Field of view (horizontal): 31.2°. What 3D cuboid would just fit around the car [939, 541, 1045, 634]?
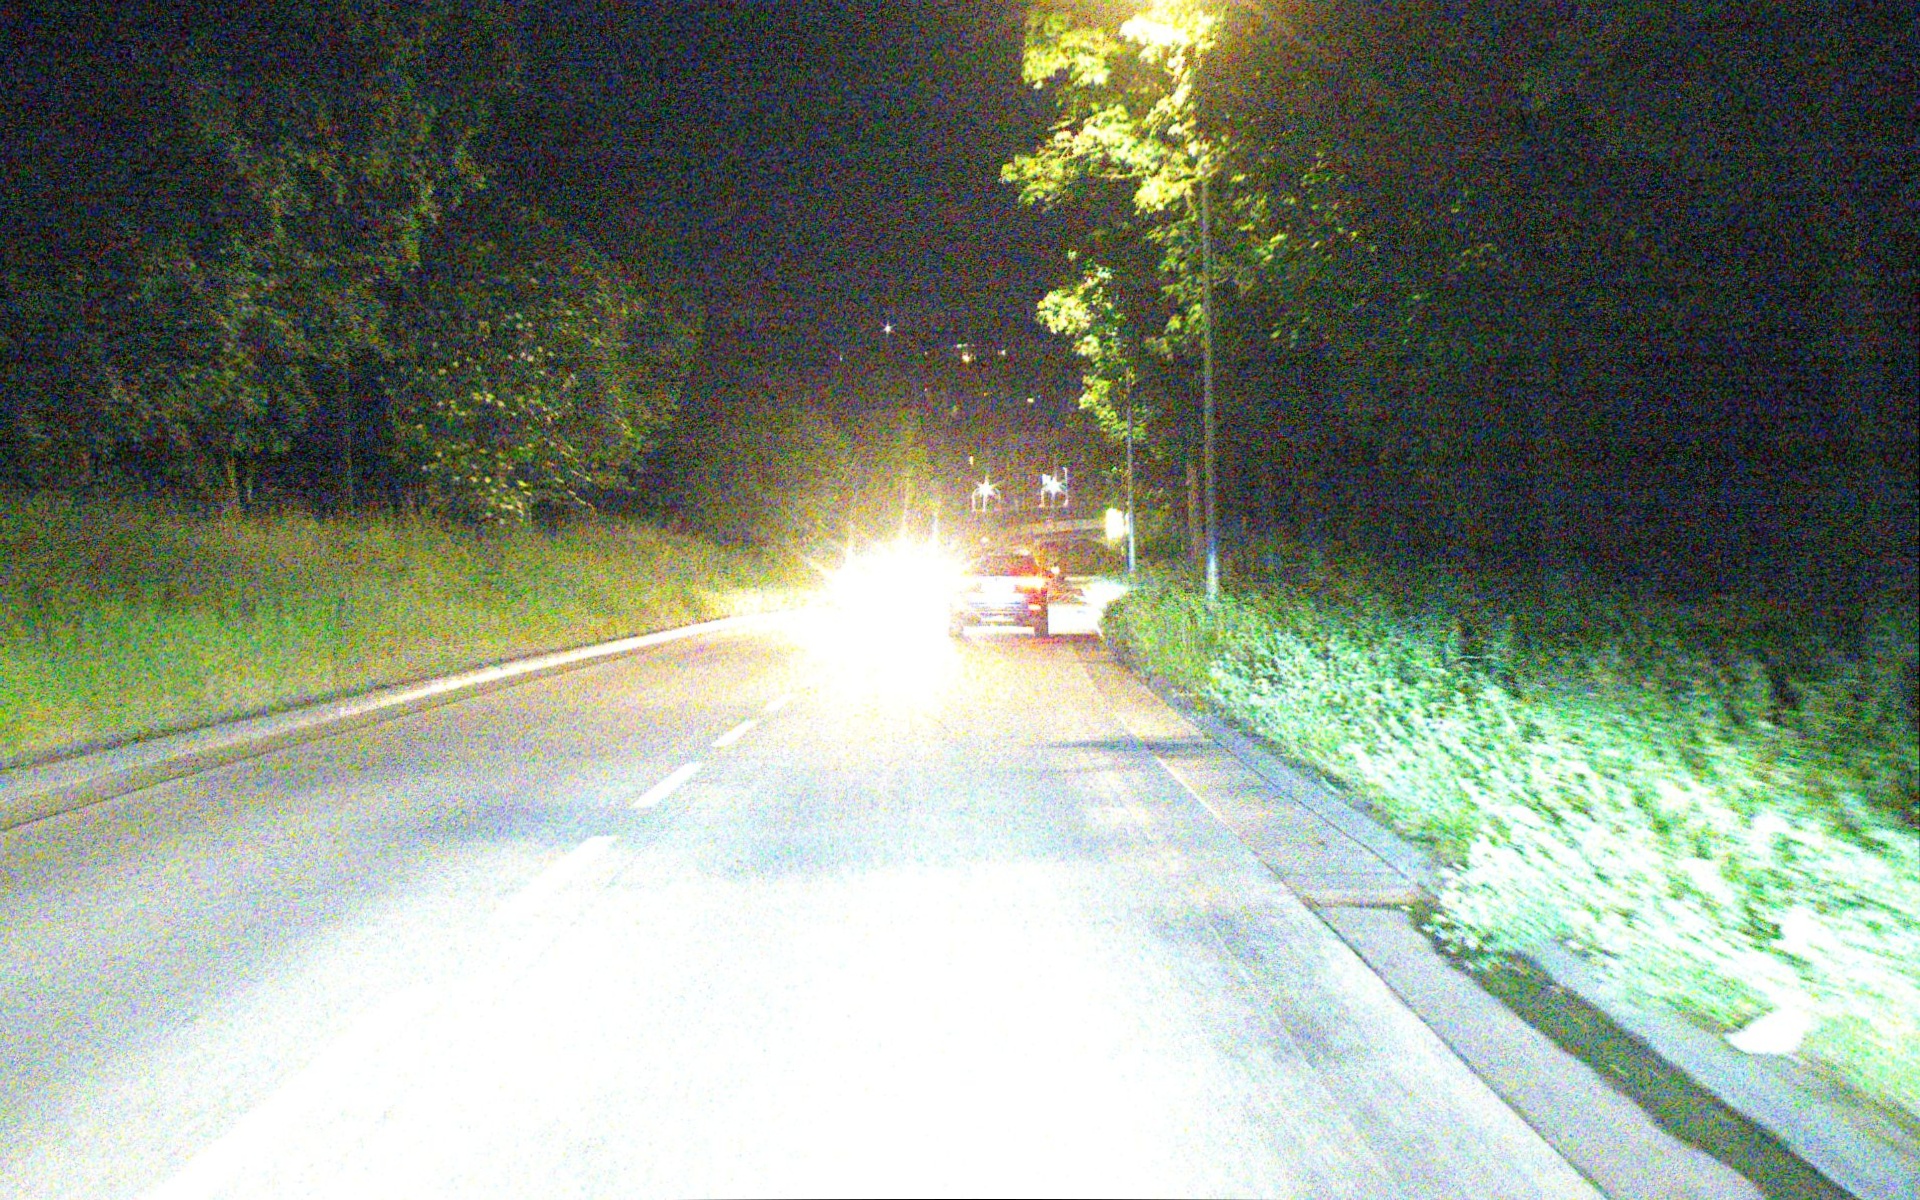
[{"bbox_3d":[0.549,-0.243,62.305,1.763,1.636,3.723,0,1,-2],"label":"car"}]

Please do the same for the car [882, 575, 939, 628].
[{"bbox_3d":[-1.424,0.041,99.828,1.647,1.486,3.557,0,1,0],"label":"car"}]

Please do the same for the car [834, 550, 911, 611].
[{"bbox_3d":[-2.107,-0.488,83.440,1.687,1.452,4.000,0,1,1],"label":"car"}]
